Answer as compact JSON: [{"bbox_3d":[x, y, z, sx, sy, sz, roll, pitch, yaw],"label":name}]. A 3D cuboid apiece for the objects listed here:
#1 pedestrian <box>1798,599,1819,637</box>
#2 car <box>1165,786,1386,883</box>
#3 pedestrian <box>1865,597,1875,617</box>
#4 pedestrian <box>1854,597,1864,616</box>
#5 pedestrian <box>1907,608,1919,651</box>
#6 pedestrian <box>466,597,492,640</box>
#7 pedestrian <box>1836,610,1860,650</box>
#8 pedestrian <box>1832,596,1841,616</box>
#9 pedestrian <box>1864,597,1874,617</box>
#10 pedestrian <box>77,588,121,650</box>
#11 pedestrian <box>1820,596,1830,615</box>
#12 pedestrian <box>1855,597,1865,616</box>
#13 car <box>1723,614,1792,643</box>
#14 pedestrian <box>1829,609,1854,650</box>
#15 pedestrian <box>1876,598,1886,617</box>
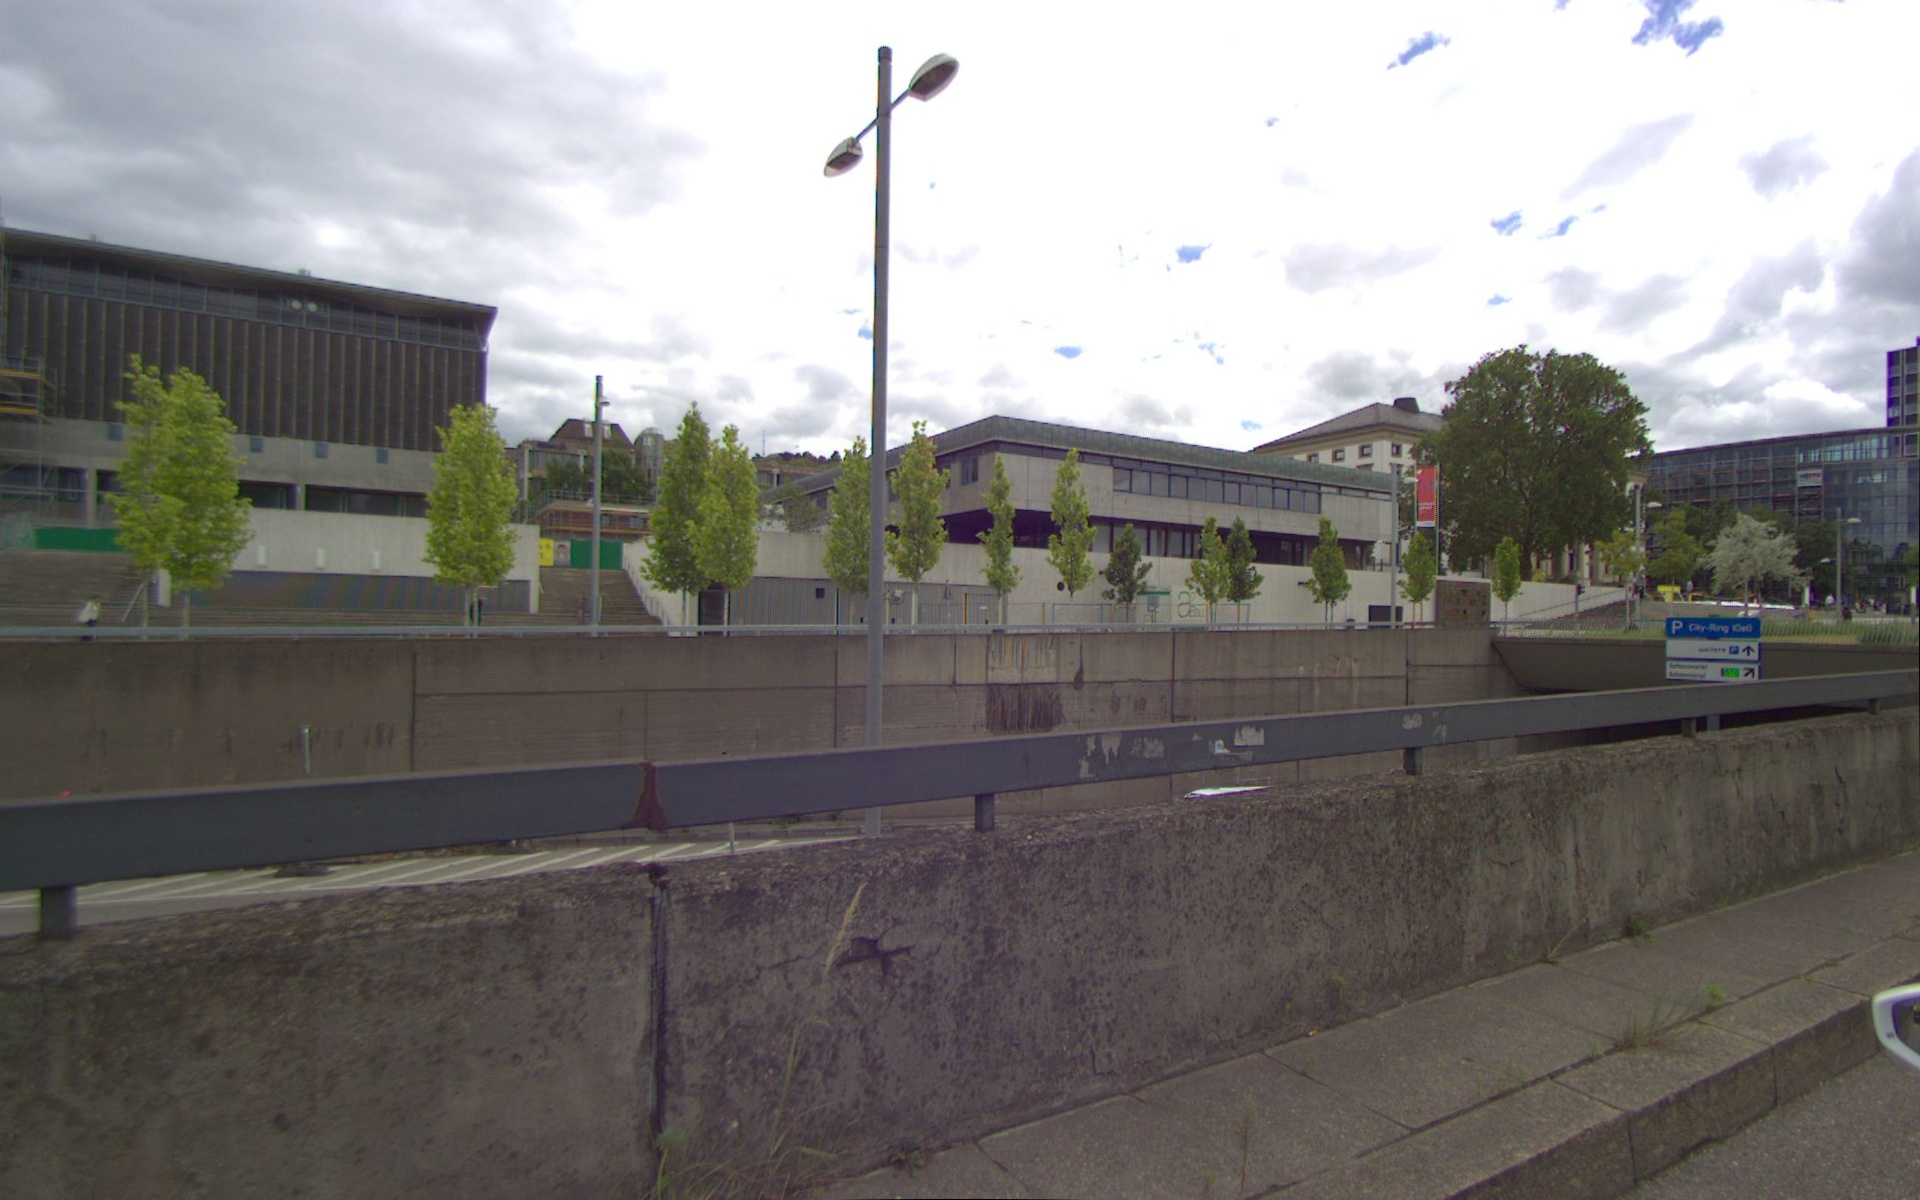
[{"bbox_3d":[46.776,1.007,55.394,0.623,2.041,0.724,-6,3,-37],"label":"pedestrian"},{"bbox_3d":[7.423,5.363,23.459,5.191,1.659,1.984,3,-7,-32],"label":"car"},{"bbox_3d":[96.090,0.749,106.028,0.730,2.040,0.789,-1,0,40],"label":"pedestrian"},{"bbox_3d":[94.121,0.676,105.164,0.730,2.040,1.109,-1,0,40],"label":"pedestrian"},{"bbox_3d":[45.894,1.392,47.962,0.622,2.040,0.856,-1,0,-30],"label":"pedestrian"},{"bbox_3d":[-19.285,0.729,40.243,0.779,1.664,0.738,-1,0,-15],"label":"pedestrian"},{"bbox_3d":[44.955,1.512,50.850,0.779,2.040,0.834,-1,0,33],"label":"pedestrian"},{"bbox_3d":[93.074,0.621,106.645,0.730,2.040,0.789,-1,0,40],"label":"pedestrian"},{"bbox_3d":[94.692,0.704,104.592,0.730,2.040,0.789,-1,0,40],"label":"pedestrian"},{"bbox_3d":[-28.797,0.618,33.603,0.777,2.040,0.741,-1,0,10],"label":"pedestrian"},{"bbox_3d":[92.858,0.603,107.807,0.730,2.040,0.789,-1,0,40],"label":"pedestrian"},{"bbox_3d":[94.836,0.699,105.888,0.730,2.040,0.789,-1,0,40],"label":"pedestrian"},{"bbox_3d":[53.457,1.879,67.301,4.682,1.879,2.163,0,0,-31],"label":"car"},{"bbox_3d":[44.259,1.487,50.431,0.779,2.040,0.834,-1,0,33],"label":"pedestrian"},{"bbox_3d":[96.350,0.777,105.059,0.730,2.040,1.109,-1,0,40],"label":"pedestrian"}]
